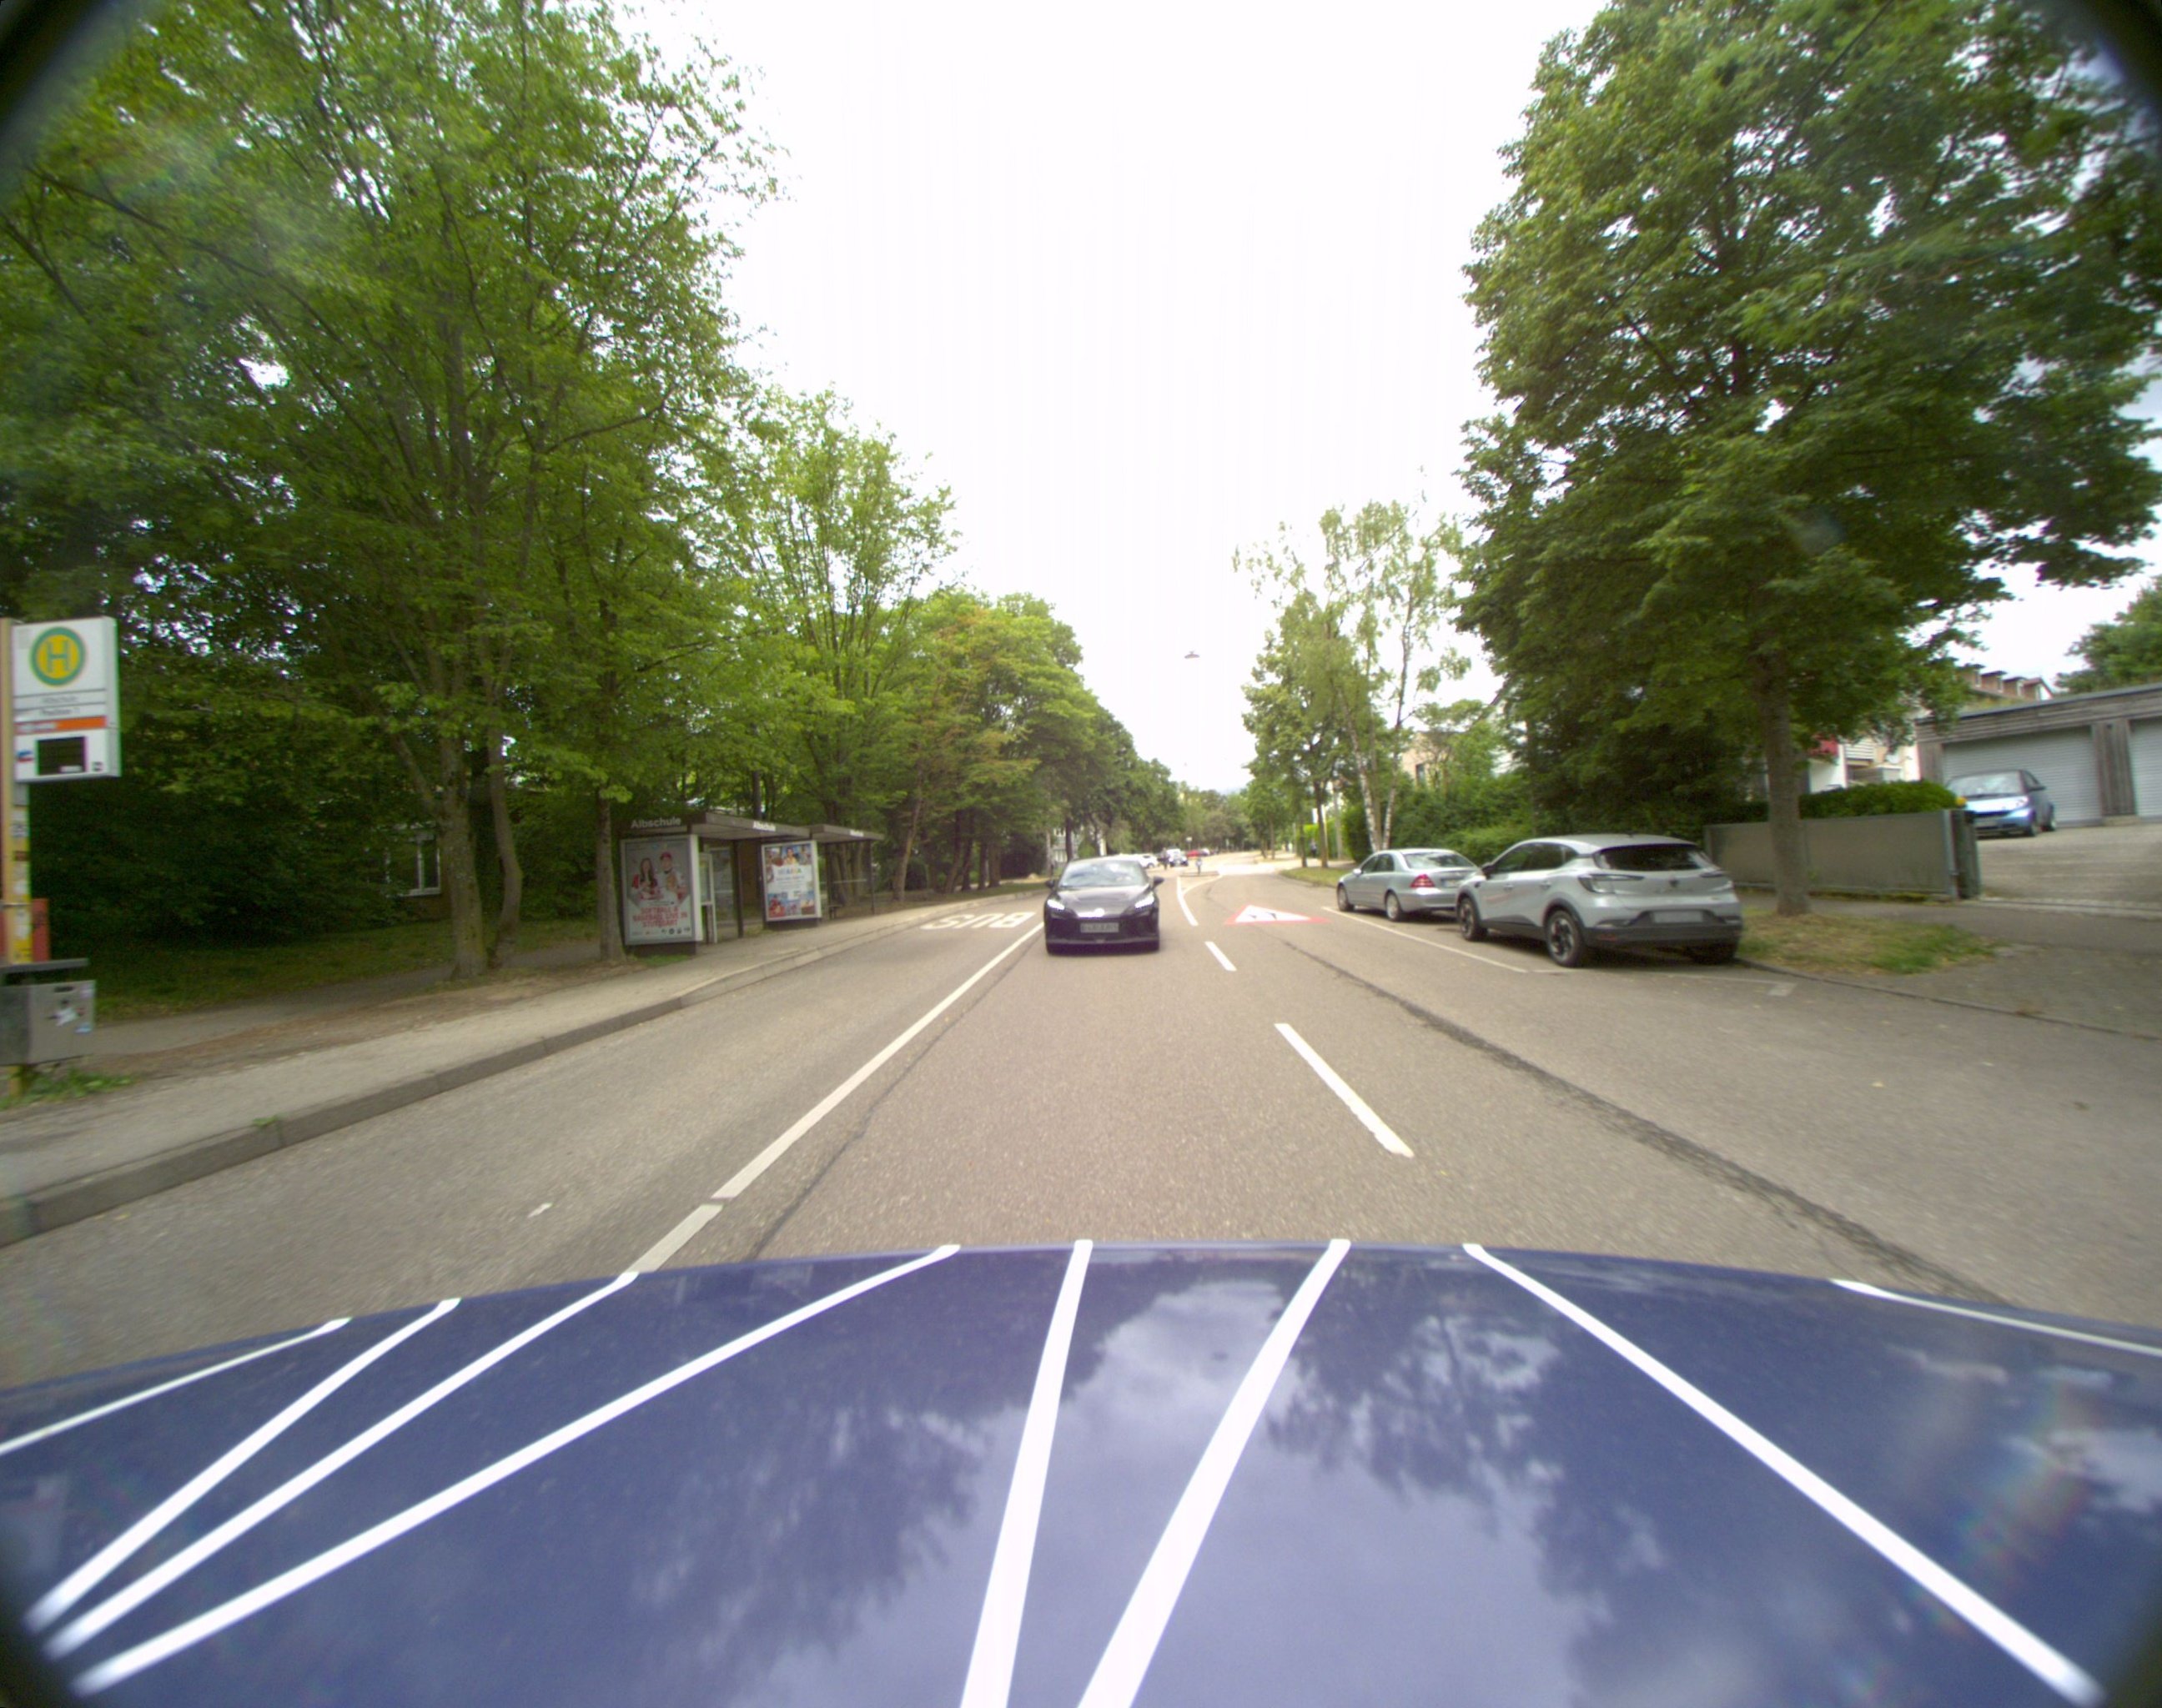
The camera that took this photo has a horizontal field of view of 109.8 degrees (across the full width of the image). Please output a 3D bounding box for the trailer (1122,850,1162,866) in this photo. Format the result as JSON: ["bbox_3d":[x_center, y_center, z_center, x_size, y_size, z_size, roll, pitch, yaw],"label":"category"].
[{"bbox_3d":[6.597,0.420,81.839,3.998,1.543,1.658,-4,0,-4],"label":"trailer"}]

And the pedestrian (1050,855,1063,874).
[{"bbox_3d":[-2.201,0.955,67.943,0.692,1.634,0.779,-3,0,33],"label":"pedestrian"}]

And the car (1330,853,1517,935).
[{"bbox_3d":[6.832,0.717,15.745,1.740,1.408,4.471,-2,0,-1],"label":"car"}]

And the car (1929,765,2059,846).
[{"bbox_3d":[21.215,-1.140,17.633,3.378,1.595,1.418,-6,2,-32],"label":"car"}]

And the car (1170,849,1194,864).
[{"bbox_3d":[10.108,0.256,75.879,1.859,1.366,4.080,-4,0,15],"label":"car"}]

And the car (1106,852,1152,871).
[{"bbox_3d":[4.601,0.721,73.494,4.000,1.455,1.794,-5,0,-11],"label":"car"}]

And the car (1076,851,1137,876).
[{"bbox_3d":[1.909,0.713,58.421,4.479,1.576,1.839,-5,0,0],"label":"car"}]

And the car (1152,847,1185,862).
[{"bbox_3d":[12.507,0.033,108.245,4.222,1.748,1.857,-5,0,-10],"label":"car"}]

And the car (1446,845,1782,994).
[{"bbox_3d":[6.578,0.690,10.057,1.739,1.529,4.191,-2,0,5],"label":"car"}]

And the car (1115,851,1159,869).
[{"bbox_3d":[5.804,0.637,78.722,4.002,1.455,1.848,-5,0,-17],"label":"car"}]

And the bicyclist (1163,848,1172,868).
[{"bbox_3d":[7.559,0.343,66.183,0.647,1.768,0.628,-3,1,3],"label":"bicyclist"}]

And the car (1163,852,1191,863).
[{"bbox_3d":[14.324,0.506,113.369,3.855,1.426,1.655,-5,0,0],"label":"car"}]

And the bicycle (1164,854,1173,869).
[{"bbox_3d":[7.548,0.632,65.718,0.647,1.230,1.878,-3,0,3],"label":"bicycle"}]

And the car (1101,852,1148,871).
[{"bbox_3d":[4.055,0.730,70.803,4.000,1.455,1.864,-5,0,-11],"label":"car"}]

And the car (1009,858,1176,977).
[{"bbox_3d":[0.369,0.891,12.170,1.811,1.484,3.796,-3,1,14],"label":"car"}]

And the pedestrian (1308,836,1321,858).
[{"bbox_3d":[18.182,-0.528,59.183,0.693,1.701,0.778,-4,0,5],"label":"pedestrian"}]

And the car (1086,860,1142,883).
[{"bbox_3d":[2.608,1.368,60.675,4.145,1.455,1.797,-5,0,-5],"label":"car"}]

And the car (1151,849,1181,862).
[{"bbox_3d":[11.710,0.241,105.071,3.855,1.430,1.716,-5,0,0],"label":"car"}]
